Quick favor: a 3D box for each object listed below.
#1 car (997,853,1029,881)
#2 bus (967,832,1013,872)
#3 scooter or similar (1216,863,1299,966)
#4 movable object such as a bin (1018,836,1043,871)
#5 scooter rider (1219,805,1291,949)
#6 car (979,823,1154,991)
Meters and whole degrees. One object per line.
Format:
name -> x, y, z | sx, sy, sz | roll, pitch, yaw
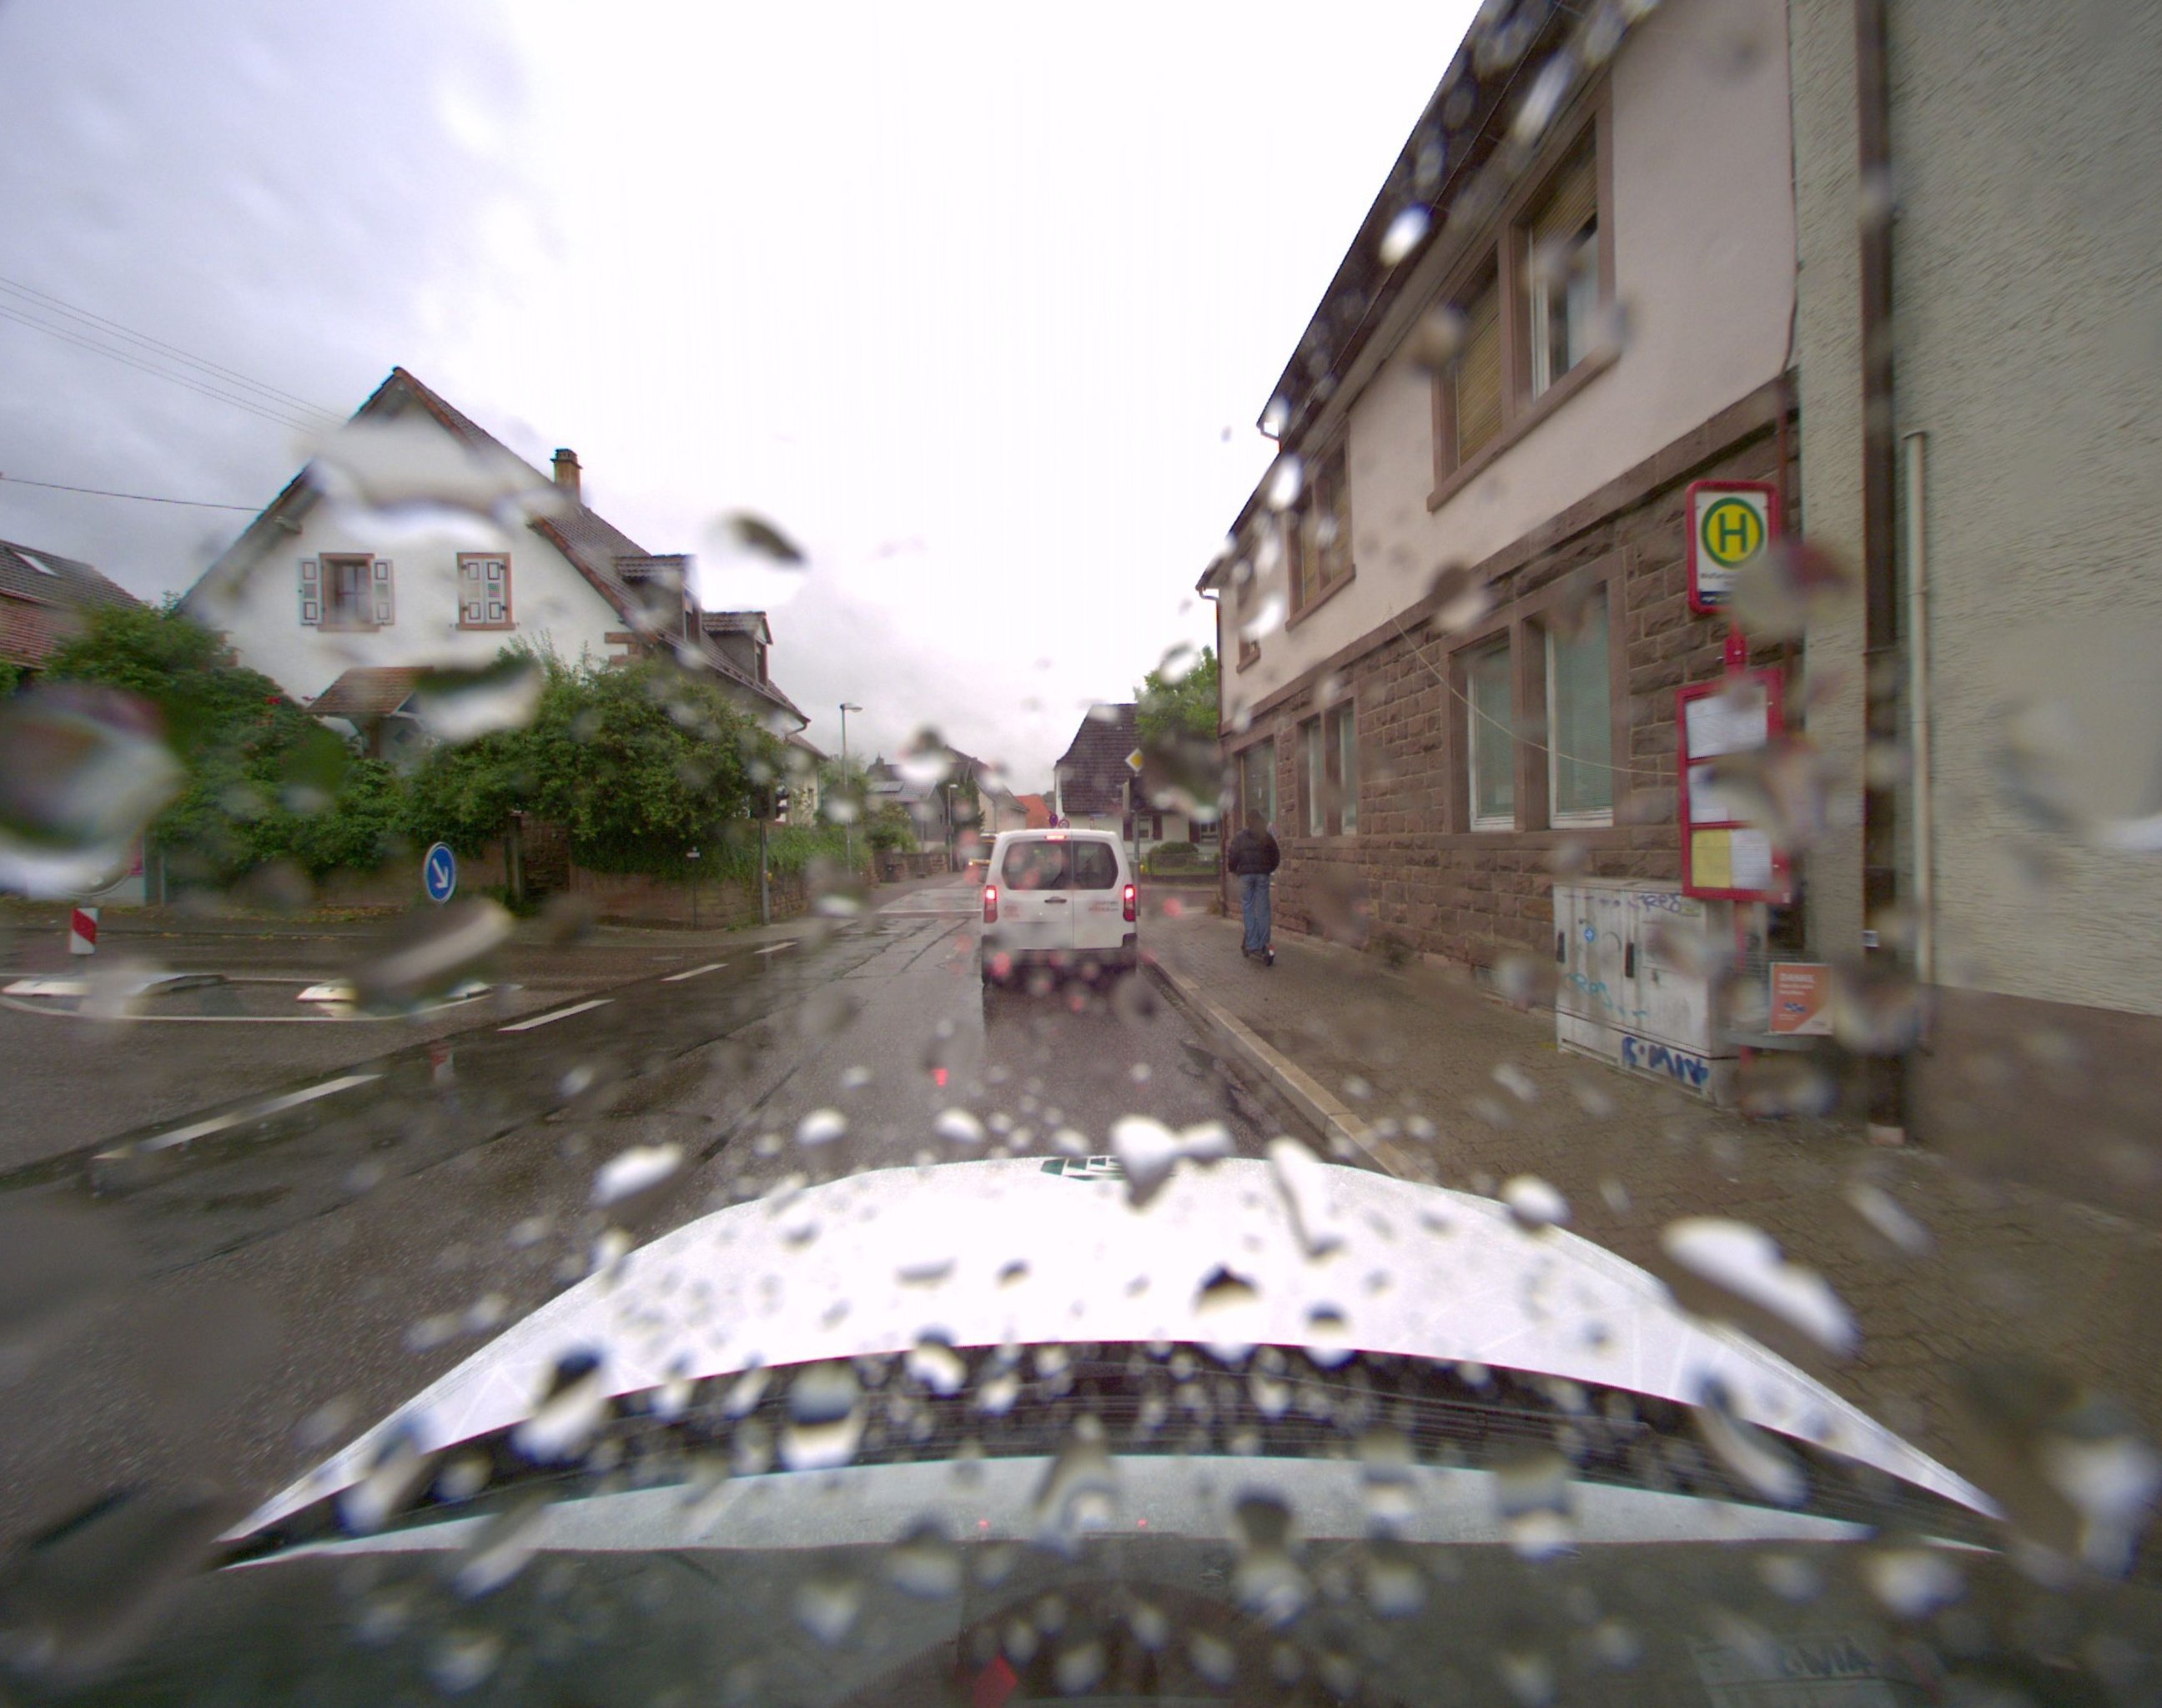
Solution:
car -> -4.090, 0.770, 49.188 | 1.805, 1.596, 3.751 | 0, 0, -4
bus -> -7.404, -0.327, 67.628 | 2.642, 2.999, 12.188 | -1, 2, -1
scooter or similar -> 2.137, 0.699, 10.012 | 0.619, 1.127, 1.400 | -1, 1, -4
movable object such as a bin -> -3.947, -0.024, 64.221 | 1.722, 2.653, 3.973 | 0, 0, -1
scooter rider -> 2.158, 0.276, 10.170 | 0.729, 1.733, 0.517 | -1, -1, -4
car -> -0.268, 0.552, 10.686 | 1.890, 1.794, 3.808 | 0, 0, -4
